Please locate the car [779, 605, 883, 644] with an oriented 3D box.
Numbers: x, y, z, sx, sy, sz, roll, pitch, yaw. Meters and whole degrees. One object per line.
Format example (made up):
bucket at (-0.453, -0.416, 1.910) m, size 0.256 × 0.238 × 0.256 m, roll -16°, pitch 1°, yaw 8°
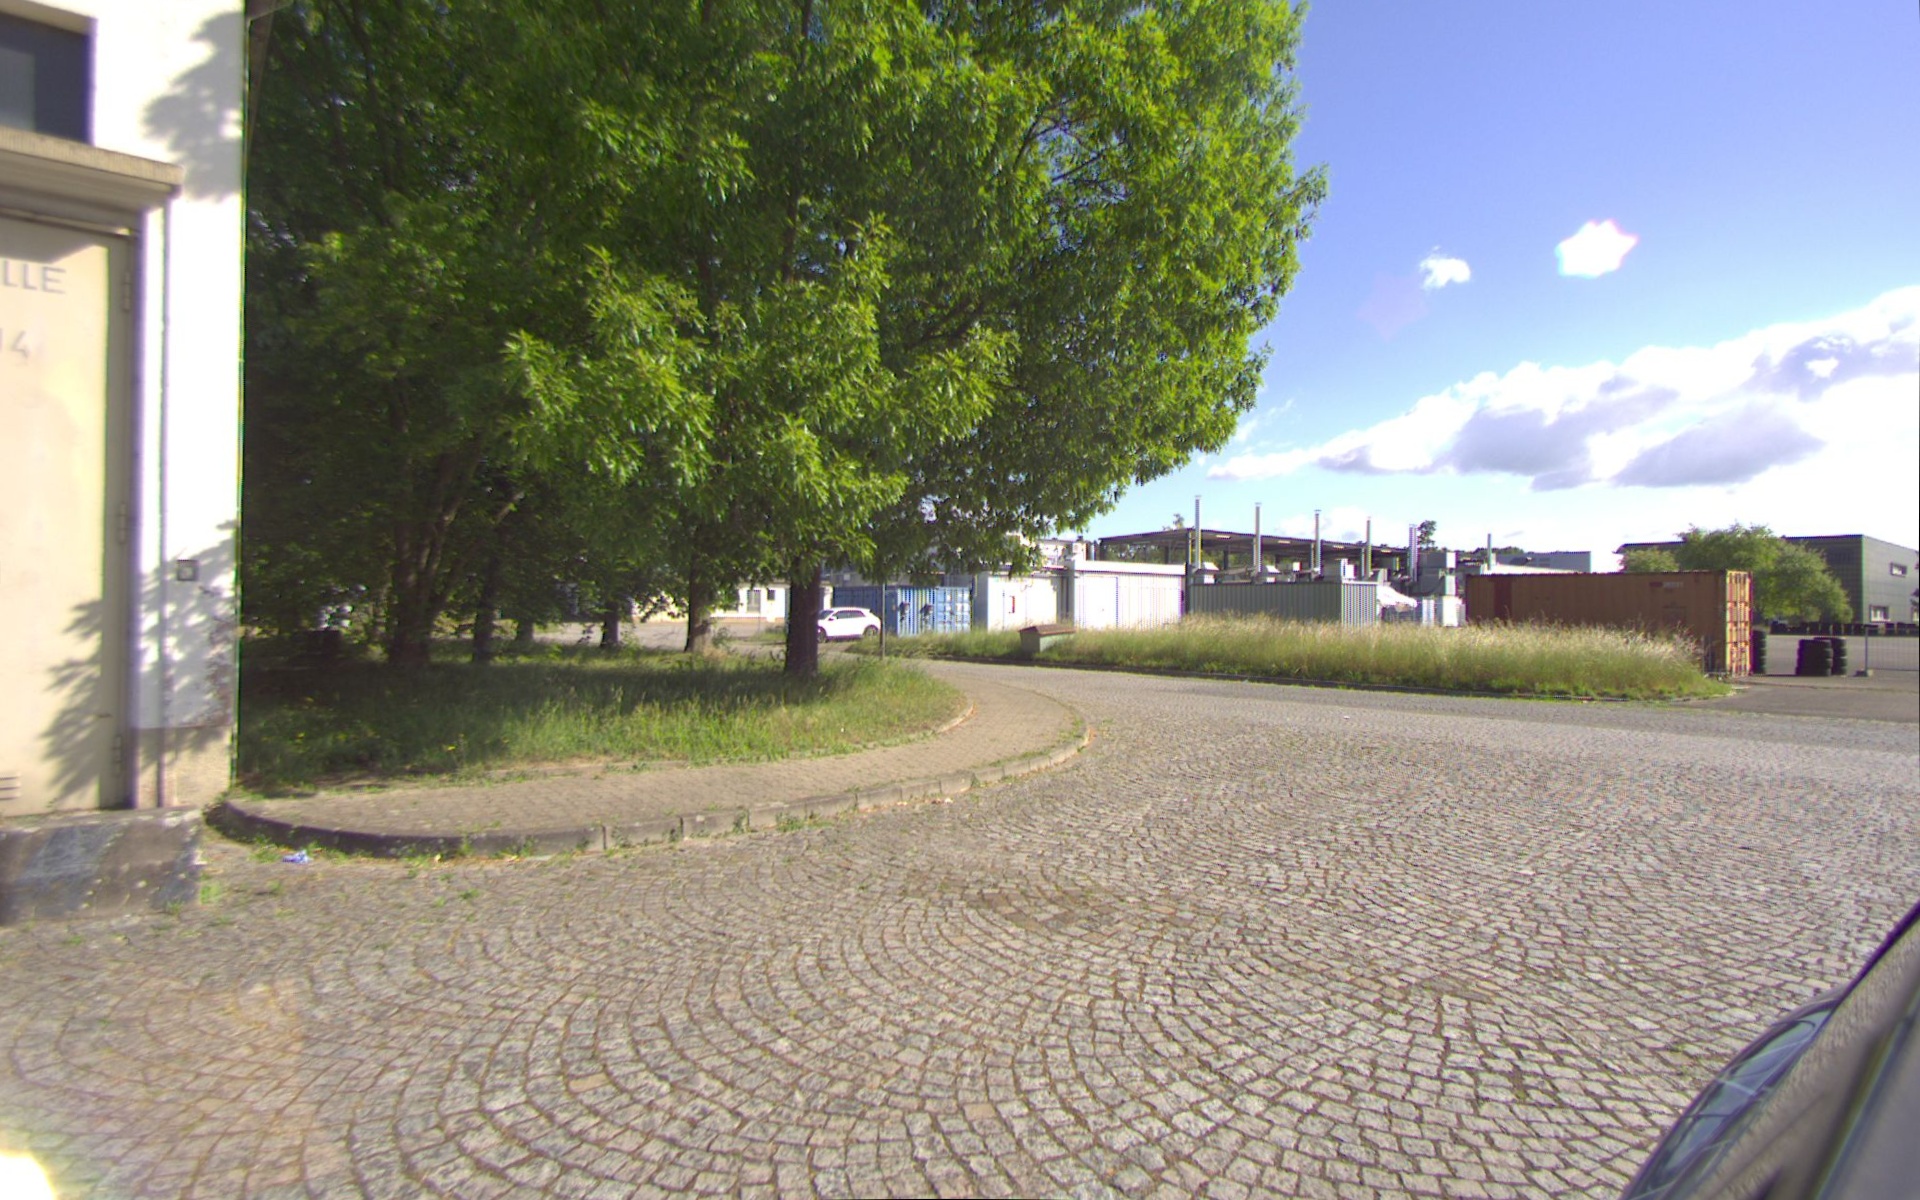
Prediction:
car at (-5.974, 1.114, 47.161) m, size 4.520 × 1.699 × 1.872 m, roll 1°, pitch -1°, yaw -40°
